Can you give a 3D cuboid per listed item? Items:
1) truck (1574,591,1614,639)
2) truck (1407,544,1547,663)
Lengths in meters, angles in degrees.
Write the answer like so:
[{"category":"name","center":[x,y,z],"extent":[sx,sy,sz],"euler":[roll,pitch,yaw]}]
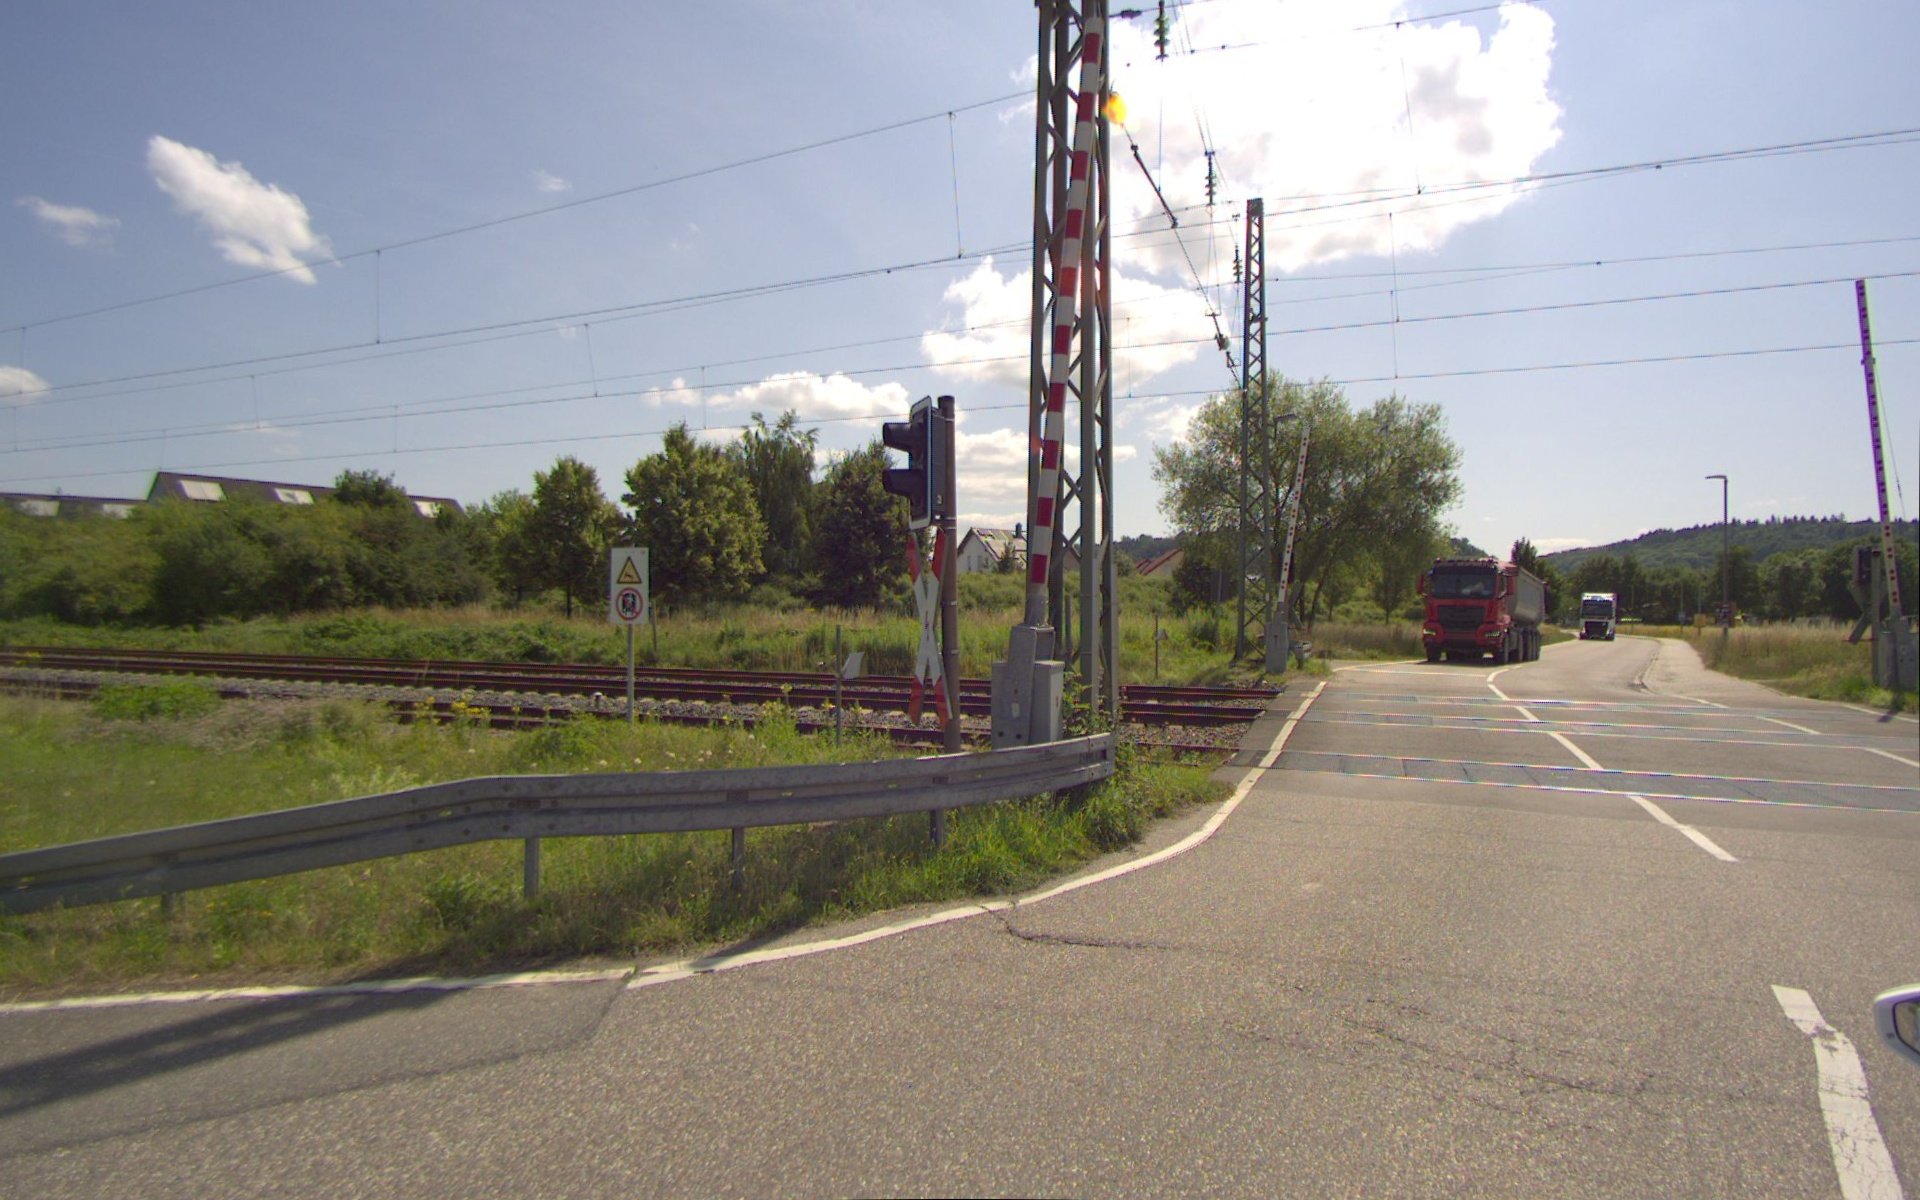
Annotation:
[{"category":"truck","center":[55.303,1.325,87.561],"extent":[2.537,4.001,6.018],"euler":[0,-1,36]},{"category":"truck","center":[19.708,0.212,37.733],"extent":[2.835,3.795,12.105],"euler":[0,-1,36]}]
